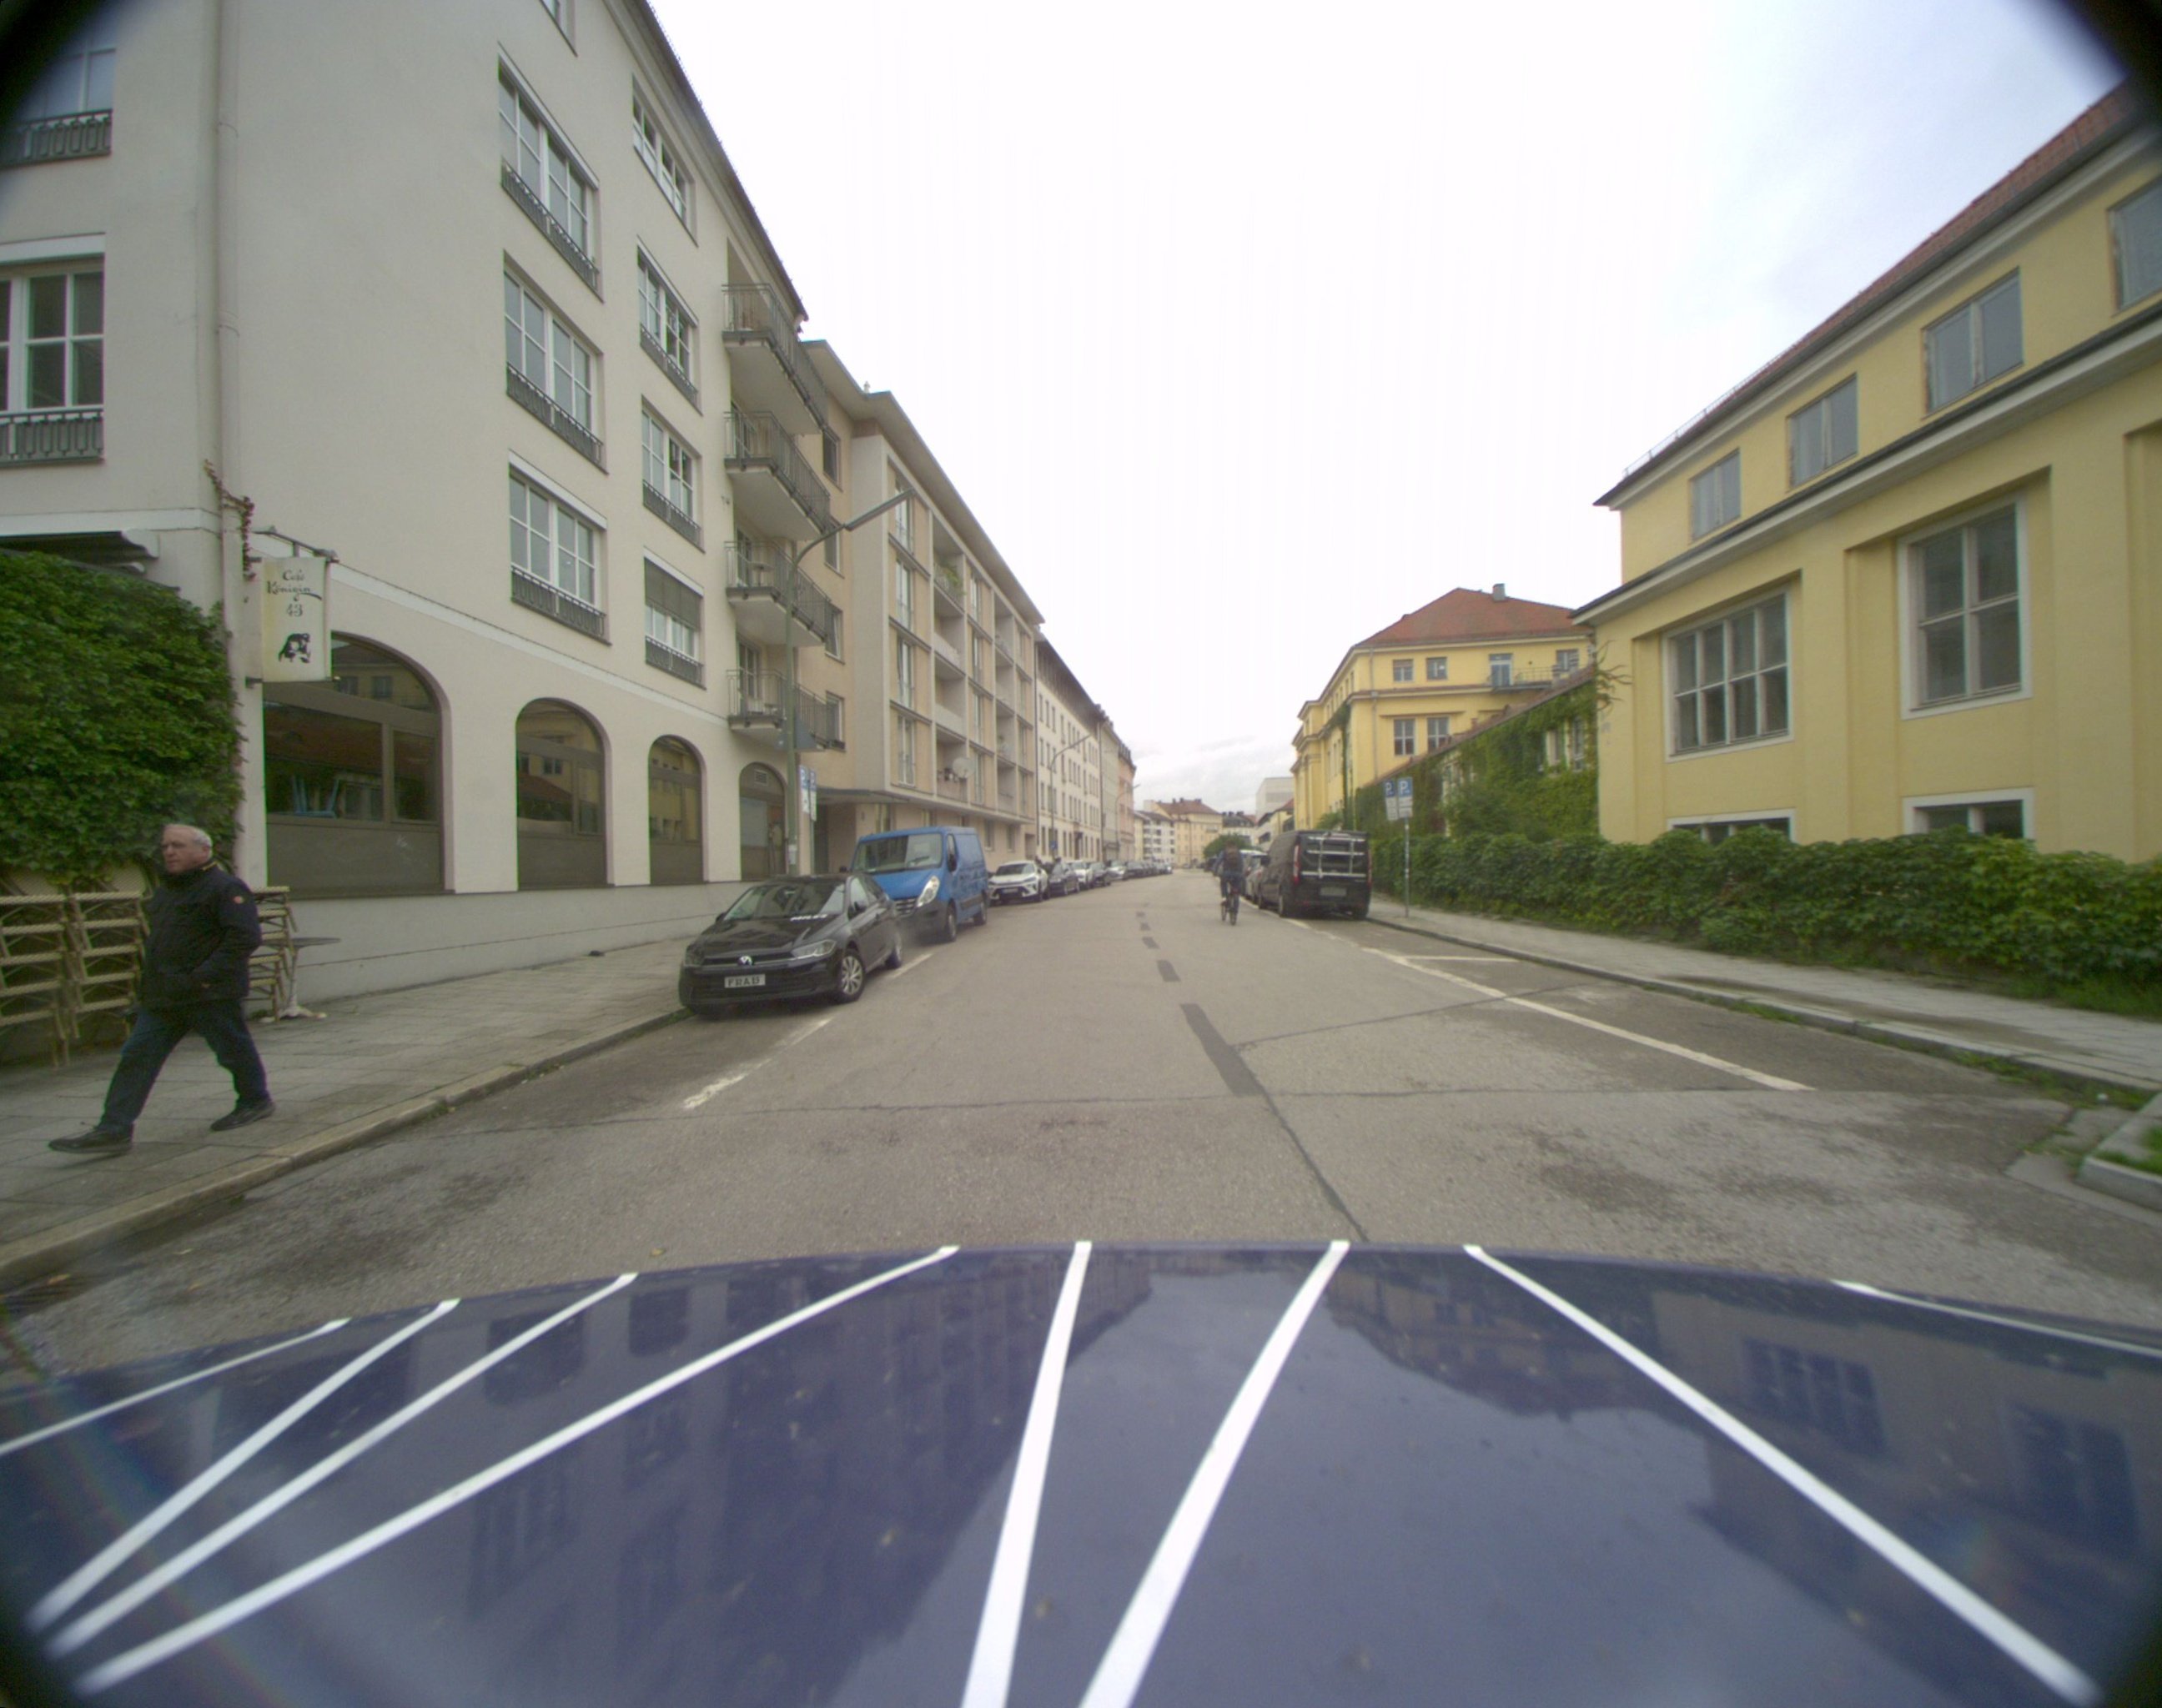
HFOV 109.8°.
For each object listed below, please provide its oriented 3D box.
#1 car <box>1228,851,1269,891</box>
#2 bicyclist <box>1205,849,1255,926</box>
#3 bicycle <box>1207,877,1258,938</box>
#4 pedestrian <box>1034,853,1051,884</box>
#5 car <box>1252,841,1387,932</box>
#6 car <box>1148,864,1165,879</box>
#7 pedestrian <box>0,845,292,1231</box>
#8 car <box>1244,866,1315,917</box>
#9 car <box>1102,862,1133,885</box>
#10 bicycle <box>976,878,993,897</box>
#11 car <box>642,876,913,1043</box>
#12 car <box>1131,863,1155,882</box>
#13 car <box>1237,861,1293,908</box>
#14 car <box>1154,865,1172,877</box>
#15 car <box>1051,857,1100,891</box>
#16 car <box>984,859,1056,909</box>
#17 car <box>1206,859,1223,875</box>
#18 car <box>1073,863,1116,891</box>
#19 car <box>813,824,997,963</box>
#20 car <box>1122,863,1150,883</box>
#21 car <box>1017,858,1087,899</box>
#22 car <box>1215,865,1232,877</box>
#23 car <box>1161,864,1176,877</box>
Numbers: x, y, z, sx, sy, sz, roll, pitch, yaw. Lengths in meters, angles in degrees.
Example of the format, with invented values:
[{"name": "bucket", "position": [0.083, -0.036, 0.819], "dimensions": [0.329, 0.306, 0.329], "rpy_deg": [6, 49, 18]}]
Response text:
[{"name": "car", "position": [8.751, 0.858, 39.977], "dimensions": [1.890, 1.878, 4.778], "rpy_deg": [2, 0, 11]}, {"name": "bicyclist", "position": [3.186, 0.701, 16.320], "dimensions": [0.865, 1.598, 0.947], "rpy_deg": [-1, 0, 0]}, {"name": "bicycle", "position": [3.236, 1.113, 16.383], "dimensions": [0.672, 1.152, 2.003], "rpy_deg": [-1, 0, 0]}, {"name": "pedestrian", "position": [-2.256, 0.846, 44.326], "dimensions": [0.724, 1.753, 0.905], "rpy_deg": [-1, 2, 11]}, {"name": "car", "position": [5.806, 0.714, 19.257], "dimensions": [2.077, 1.952, 5.352], "rpy_deg": [1, 0, 4]}, {"name": "car", "position": [8.624, 1.973, 86.474], "dimensions": [1.709, 1.582, 4.365], "rpy_deg": [-2, -1, 7]}, {"name": "pedestrian", "position": [-5.255, 0.865, 4.137], "dimensions": [0.933, 1.790, 0.958], "rpy_deg": [2, 1, 15]}, {"name": "car", "position": [6.300, 1.129, 24.545], "dimensions": [1.697, 1.385, 4.504], "rpy_deg": [3, 0, 9]}, {"name": "car", "position": [2.575, 1.348, 53.049], "dimensions": [1.653, 1.486, 2.883], "rpy_deg": [-4, -1, 10]}, {"name": "bicycle", "position": [-4.600, 1.596, 36.436], "dimensions": [0.378, 0.899, 1.393], "rpy_deg": [-1, -1, 11]}, {"name": "car", "position": [-3.383, 1.075, 9.452], "dimensions": [1.681, 1.381, 4.305], "rpy_deg": [-5, 0, -2]}, {"name": "car", "position": [5.634, 1.617, 68.324], "dimensions": [1.648, 1.579, 4.638], "rpy_deg": [-4, -1, 10]}, {"name": "car", "position": [7.064, 1.107, 29.549], "dimensions": [1.700, 1.633, 4.493], "rpy_deg": [2, 0, 9]}, {"name": "car", "position": [10.042, 2.072, 92.999], "dimensions": [1.690, 1.393, 4.368], "rpy_deg": [-2, -1, 11]}, {"name": "car", "position": [-0.214, 0.963, 37.545], "dimensions": [1.697, 1.480, 4.583], "rpy_deg": [-3, -1, 8]}, {"name": "car", "position": [-2.081, 1.022, 27.340], "dimensions": [1.789, 1.524, 4.650], "rpy_deg": [-4, -1, 4]}, {"name": "car", "position": [24.184, 2.297, 137.994], "dimensions": [2.218, 2.836, 6.198], "rpy_deg": [1, -1, 2]}, {"name": "car", "position": [0.815, 1.249, 42.387], "dimensions": [1.748, 1.379, 4.957], "rpy_deg": [-3, -1, 8]}, {"name": "car", "position": [-3.314, 0.638, 15.681], "dimensions": [2.084, 2.221, 5.245], "rpy_deg": [-5, 1, 4]}, {"name": "car", "position": [4.638, 1.540, 63.159], "dimensions": [1.806, 1.475, 5.324], "rpy_deg": [-4, -1, 9]}, {"name": "car", "position": [-1.132, 1.003, 32.592], "dimensions": [1.883, 1.513, 5.168], "rpy_deg": [-5, -1, 10]}, {"name": "car", "position": [19.076, 2.225, 102.023], "dimensions": [1.961, 1.473, 4.532], "rpy_deg": [2, 0, 7]}, {"name": "car", "position": [12.508, 2.354, 108.621], "dimensions": [1.685, 1.663, 3.805], "rpy_deg": [-3, -1, 2]}]
